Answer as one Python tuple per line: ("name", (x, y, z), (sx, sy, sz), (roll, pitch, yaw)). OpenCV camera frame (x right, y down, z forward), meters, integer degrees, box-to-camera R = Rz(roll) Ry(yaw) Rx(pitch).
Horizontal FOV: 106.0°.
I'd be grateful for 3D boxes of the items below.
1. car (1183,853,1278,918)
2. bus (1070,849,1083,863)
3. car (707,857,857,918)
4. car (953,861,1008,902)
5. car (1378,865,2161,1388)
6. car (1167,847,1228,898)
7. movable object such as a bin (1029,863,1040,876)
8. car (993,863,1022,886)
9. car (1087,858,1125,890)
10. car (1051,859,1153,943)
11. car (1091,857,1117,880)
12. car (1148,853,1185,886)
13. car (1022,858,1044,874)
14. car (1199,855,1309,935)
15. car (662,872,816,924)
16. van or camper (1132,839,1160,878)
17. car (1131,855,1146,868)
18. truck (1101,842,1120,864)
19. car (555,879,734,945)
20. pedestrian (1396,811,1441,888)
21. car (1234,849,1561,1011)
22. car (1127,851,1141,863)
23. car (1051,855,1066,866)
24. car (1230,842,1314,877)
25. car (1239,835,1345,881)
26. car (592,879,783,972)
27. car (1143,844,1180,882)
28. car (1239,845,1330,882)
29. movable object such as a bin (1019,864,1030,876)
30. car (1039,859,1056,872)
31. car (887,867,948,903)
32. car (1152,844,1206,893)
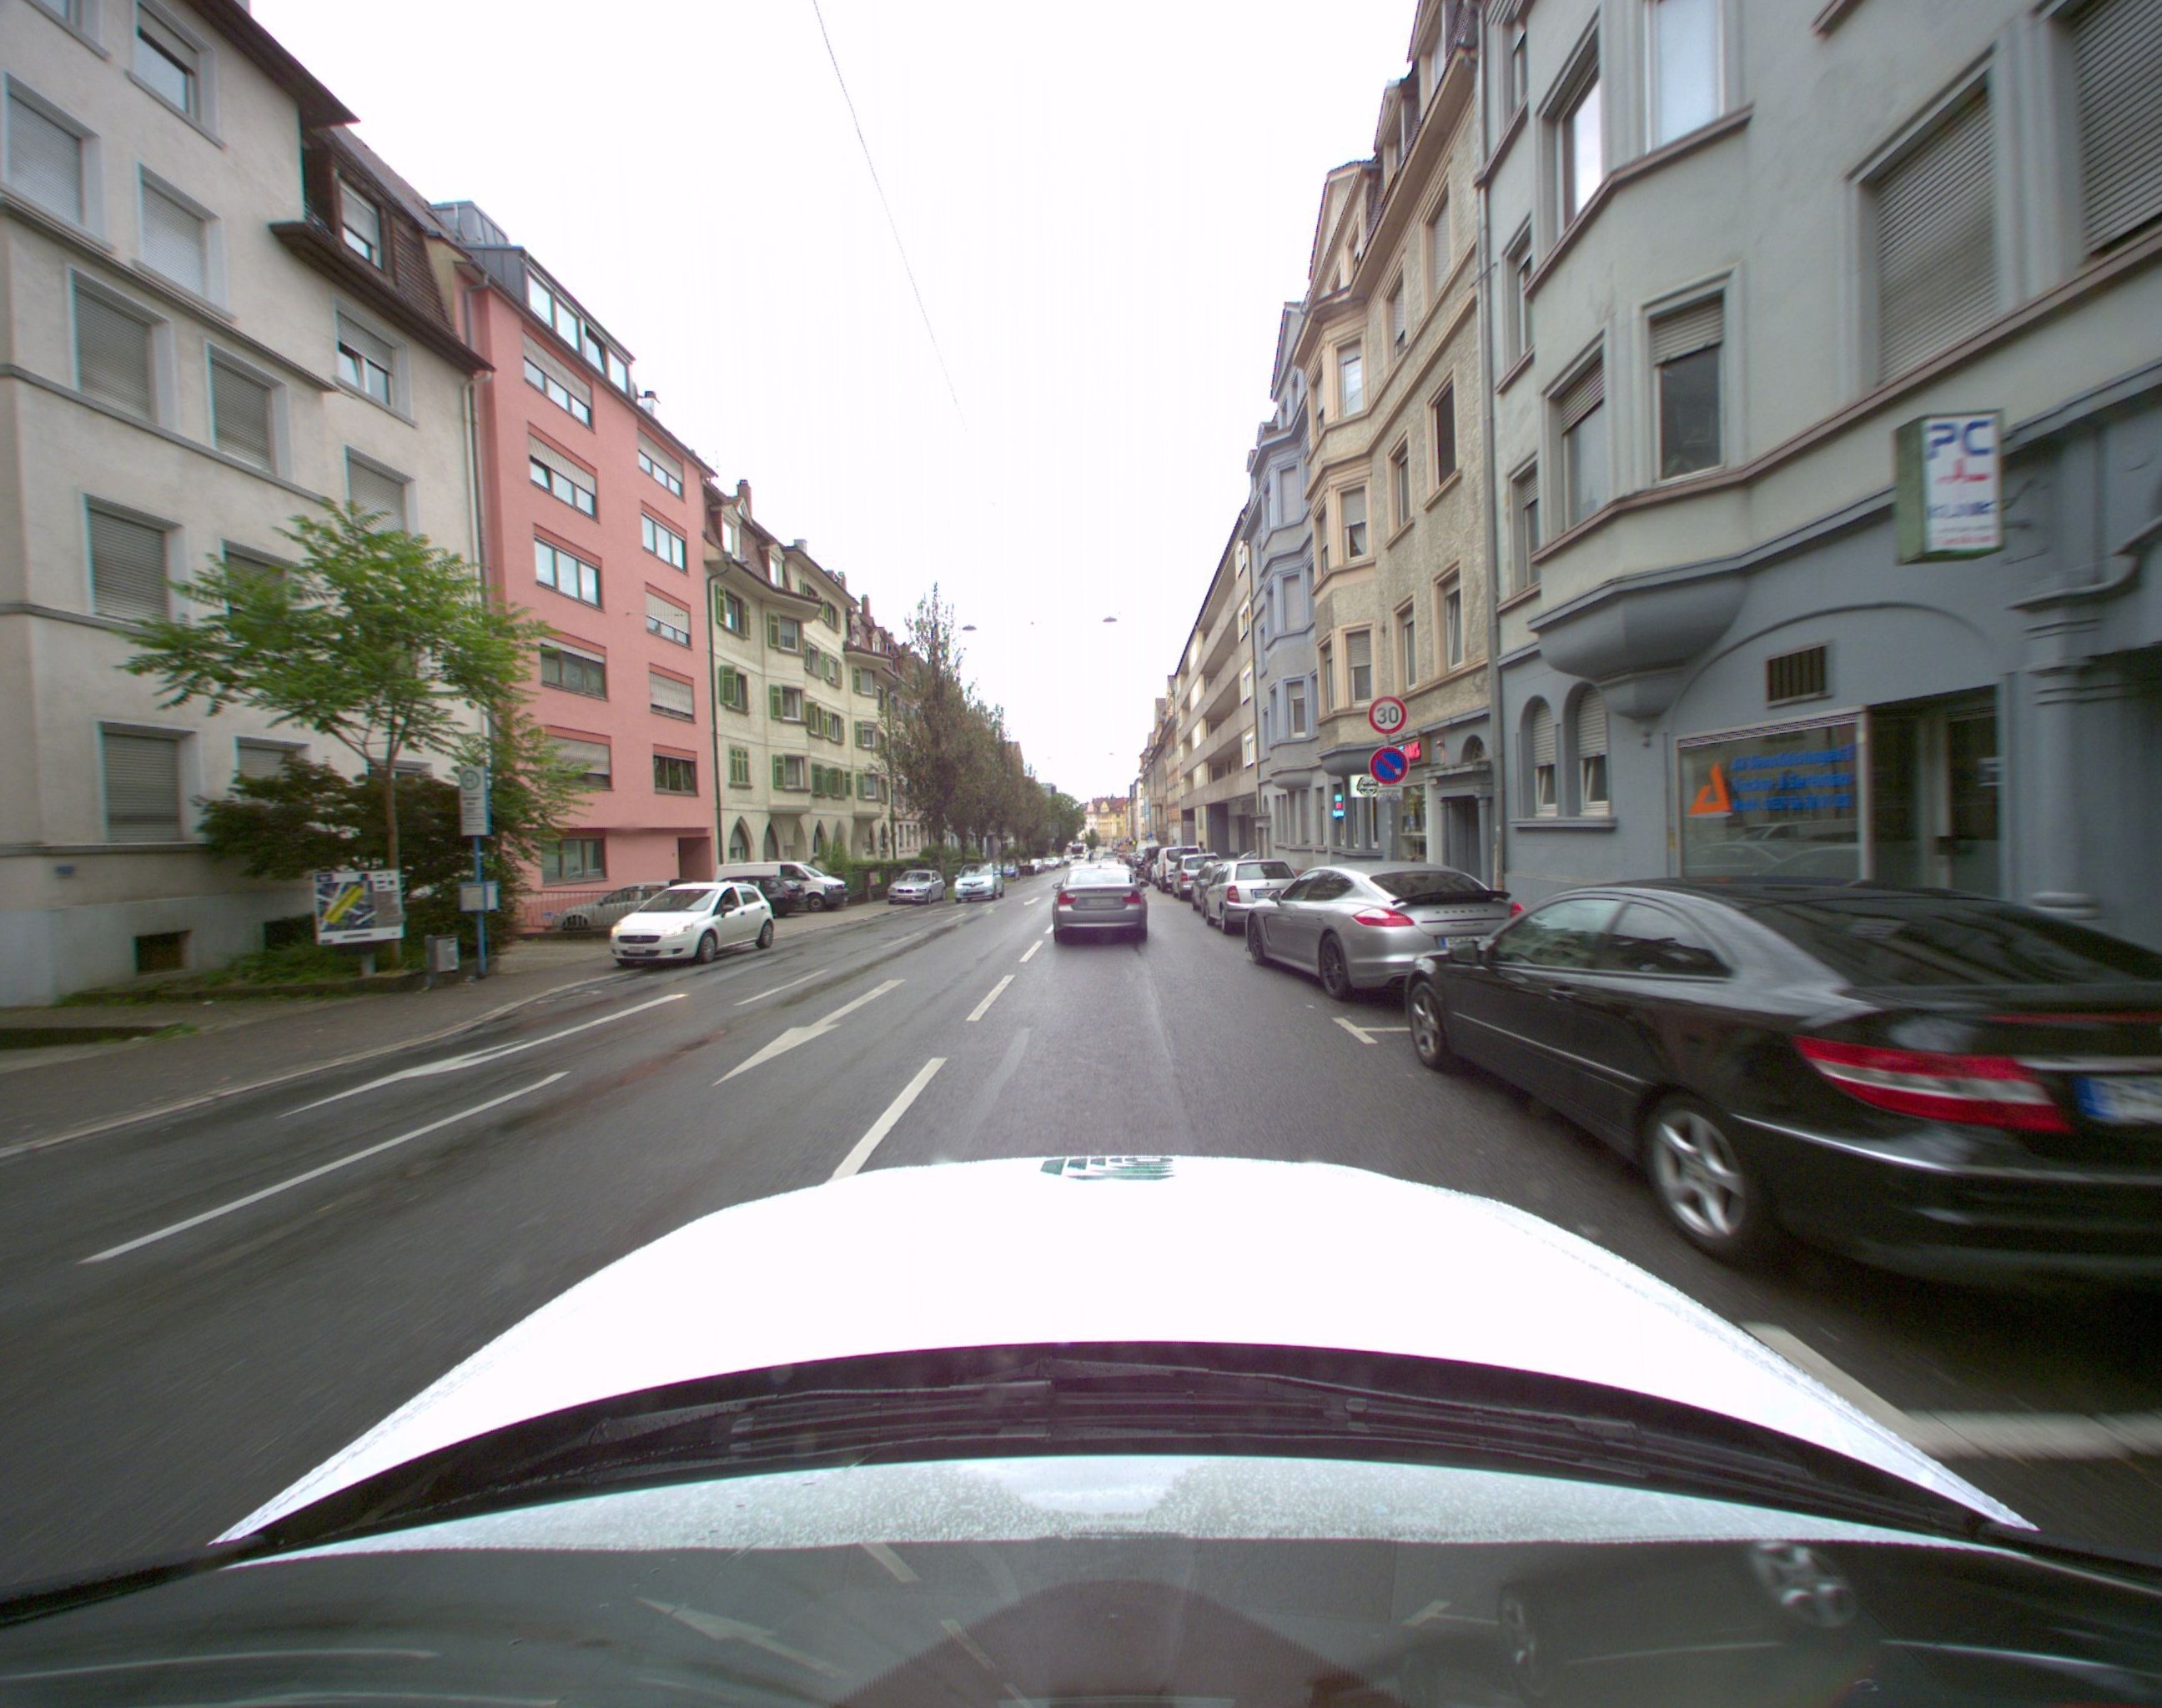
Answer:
("car", (4.039, 0.795, 22.740), (1.892, 1.478, 4.802), (-5, 0, 3))
("bus", (-0.960, 0.429, 193.596), (2.658, 3.024, 7.674), (-3, 0, 2))
("car", (-11.185, 1.232, 30.710), (4.811, 1.974, 2.049), (-3, 0, 1))
("car", (-4.214, 1.113, 34.648), (1.630, 1.508, 3.756), (-5, 0, 2))
("car", (3.156, 0.782, 4.386), (1.671, 1.375, 4.278), (-1, 0, 2))
("car", (4.291, 0.652, 30.619), (1.719, 1.670, 4.290), (-4, 0, 2))
("movable object such as a bin", (-4.487, 1.489, 78.285), (0.931, 1.168, 0.910), (-2, 0, 2))
("car", (-5.805, 1.599, 64.411), (1.760, 1.594, 4.000), (-4, 0, 1))
("car", (1.224, 0.929, 38.429), (1.675, 1.428, 3.744), (-1, -1, 3))
("car", (0.343, 0.837, 16.012), (1.764, 1.428, 3.739), (-1, -1, -1))
("car", (1.556, 0.987, 55.771), (1.691, 1.483, 3.794), (-1, -1, 1))
("car", (4.790, 0.830, 45.972), (1.719, 1.670, 4.290), (-3, 0, 2))
("car", (-5.067, 1.226, 86.060), (1.820, 1.523, 3.739), (-4, 0, 3))
("car", (3.537, 0.787, 17.312), (1.605, 1.474, 4.017), (-1, 0, 2))
("car", (-11.560, 1.483, 27.755), (4.418, 1.451, 1.791), (-3, 0, -1))
("van or camper", (5.080, 0.324, 62.704), (2.023, 2.869, 6.896), (1, 0, 6))
("car", (7.105, 0.937, 100.781), (1.691, 1.483, 3.976), (-1, -1, 1))
("truck", (3.288, -0.129, 92.216), (2.024, 2.412, 4.828), (-1, -1, 1))
("car", (-11.914, 1.546, 22.441), (3.876, 1.457, 1.788), (-3, 0, -6))
("pedestrian", (7.318, -0.086, 17.694), (0.486, 1.620, 0.661), (-3, -1, -28))
("car", (3.430, 0.728, 10.010), (1.872, 1.467, 4.767), (-1, -1, -4))
("car", (7.223, 0.429, 110.494), (1.691, 1.483, 3.976), (-1, -1, 1))
("car", (-3.199, 0.921, 116.653), (1.684, 1.523, 3.739), (-4, 0, 3))
("car", (10.268, 0.281, 43.721), (4.255, 1.640, 1.673), (-2, 1, 14))
("car", (9.336, 0.185, 35.965), (4.289, 1.804, 2.017), (-2, 1, 19))
("car", (-7.569, 1.304, 16.129), (1.614, 1.446, 4.008), (-2, 0, 3))
("car", (5.092, 0.552, 52.088), (1.974, 2.166, 4.752), (-3, 0, 2))
("car", (10.124, 0.477, 40.618), (4.255, 1.640, 1.673), (-2, 1, 14))
("movable object such as a bin", (-5.446, 1.531, 78.312), (0.898, 1.168, 0.895), (-2, 0, 2))
("car", (-4.334, 1.501, 106.338), (1.684, 1.523, 3.739), (-4, 0, 3))
("car", (-7.120, 1.330, 35.839), (1.719, 1.484, 3.992), (0, -1, 3))
("car", (4.446, 0.617, 37.450), (1.974, 2.007, 4.627), (-3, 0, 2))
